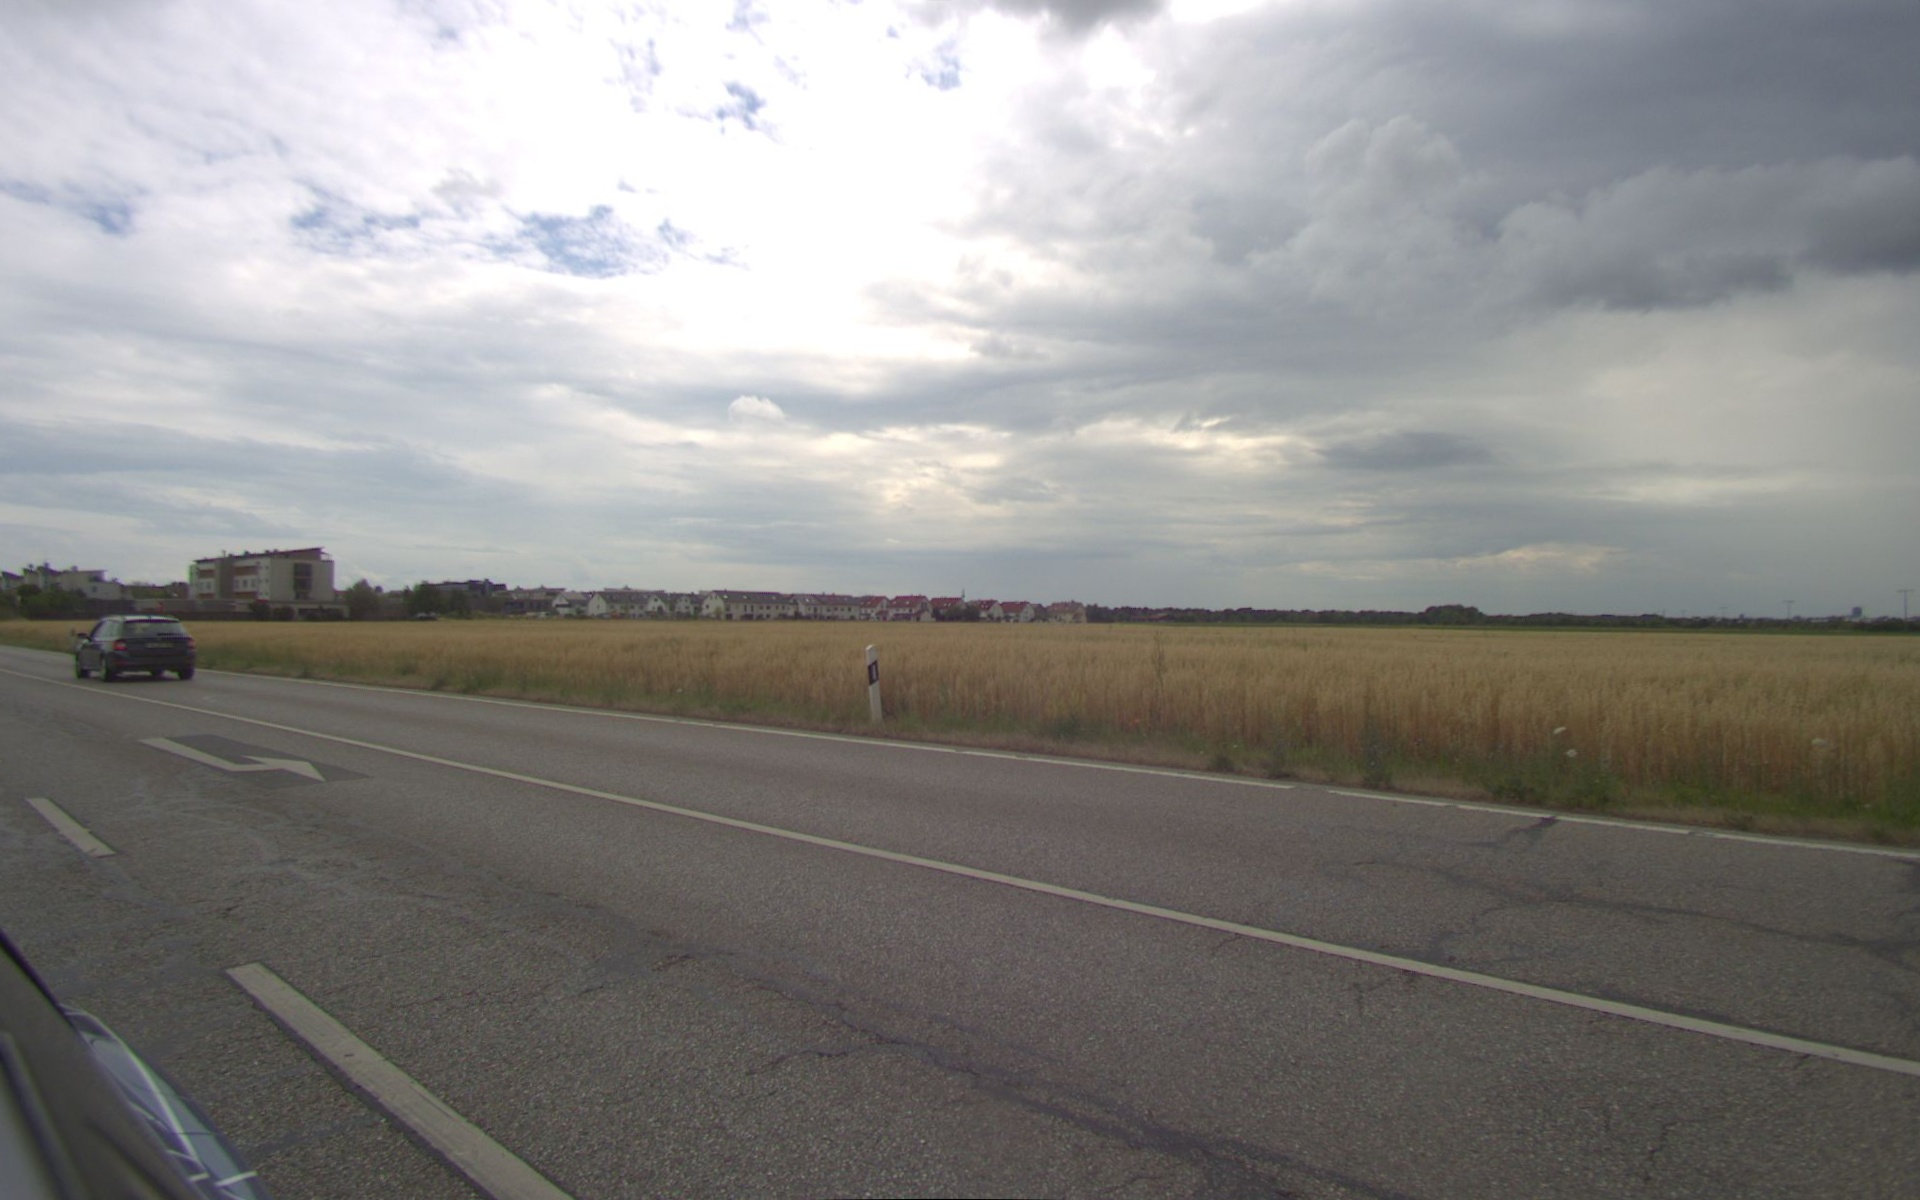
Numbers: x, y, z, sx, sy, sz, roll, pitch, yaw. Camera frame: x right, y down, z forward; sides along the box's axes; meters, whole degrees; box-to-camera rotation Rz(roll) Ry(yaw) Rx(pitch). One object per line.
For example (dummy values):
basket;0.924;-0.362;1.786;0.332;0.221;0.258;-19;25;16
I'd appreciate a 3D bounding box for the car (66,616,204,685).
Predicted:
car;-19.372;1.120;23.706;4.128;1.469;1.718;-1;-1;39
